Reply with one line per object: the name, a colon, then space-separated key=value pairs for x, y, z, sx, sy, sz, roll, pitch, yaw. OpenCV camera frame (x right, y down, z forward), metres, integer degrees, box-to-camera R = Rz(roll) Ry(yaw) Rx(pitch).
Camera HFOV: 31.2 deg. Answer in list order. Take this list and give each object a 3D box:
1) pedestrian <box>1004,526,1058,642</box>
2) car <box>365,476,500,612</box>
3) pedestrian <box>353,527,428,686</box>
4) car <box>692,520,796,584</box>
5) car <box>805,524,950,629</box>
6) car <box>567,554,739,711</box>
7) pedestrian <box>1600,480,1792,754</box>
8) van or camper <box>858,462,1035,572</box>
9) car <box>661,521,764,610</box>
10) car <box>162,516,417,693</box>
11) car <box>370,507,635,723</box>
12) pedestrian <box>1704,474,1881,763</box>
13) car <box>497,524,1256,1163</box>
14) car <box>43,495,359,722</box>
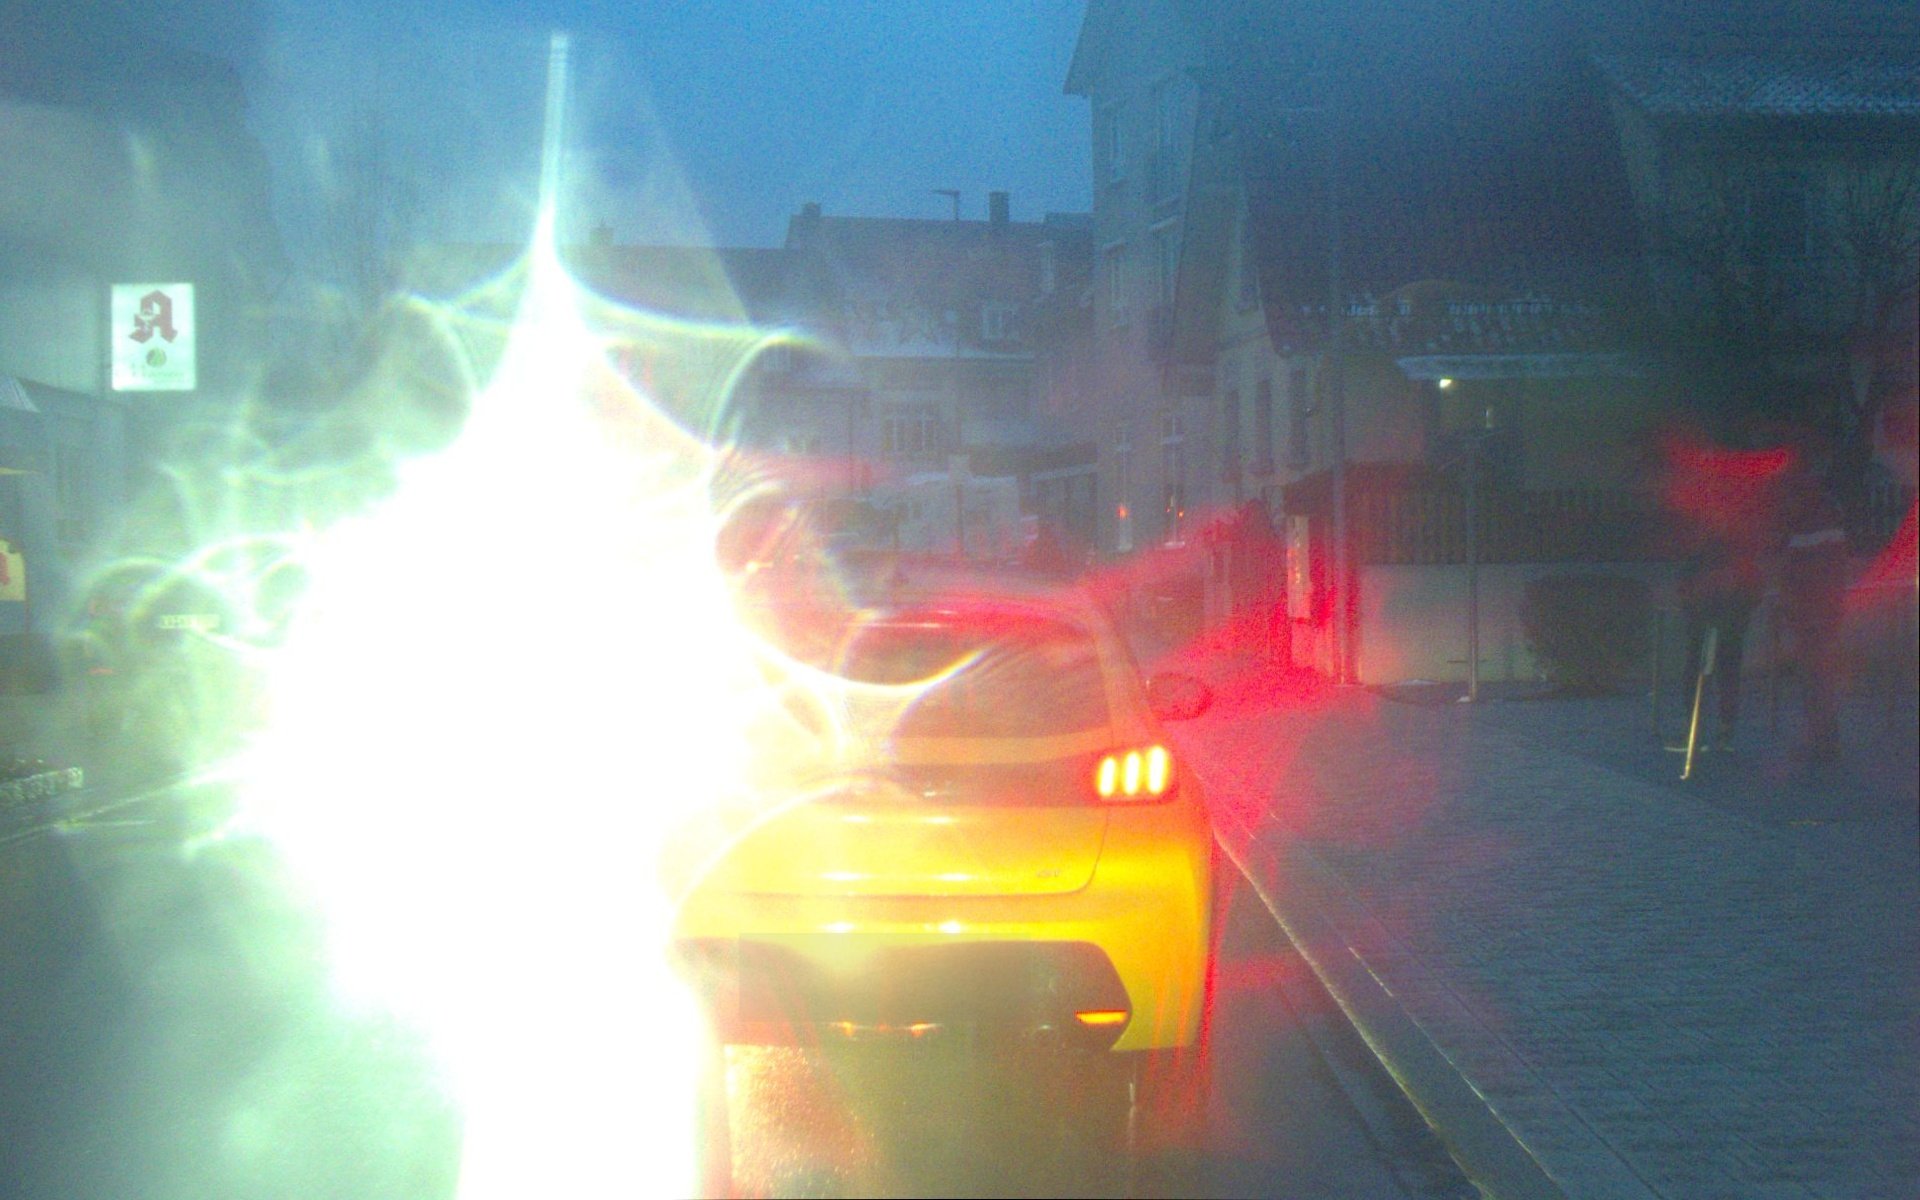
pedestrian: x=1.076 y=-0.251 z=52.301 sx=0.745 sy=1.723 sz=0.873 roll=0 pitch=2 yaw=-4
car: x=-10.557 y=-1.081 z=68.960 sx=2.485 sy=2.551 sz=6.763 roll=1 pitch=0 yaw=-8
pedestrian: x=-5.748 y=0.055 z=34.702 sx=0.528 sy=1.580 sz=0.576 roll=-2 pitch=2 yaw=-36
car: x=-6.412 y=-1.430 z=101.451 sx=1.993 sy=1.759 sz=4.352 roll=-2 pitch=2 yaw=-18
car: x=-1.349 y=-0.382 z=54.659 sx=1.993 sy=1.583 sz=4.001 roll=1 pitch=1 yaw=-6
car: x=-3.766 y=0.346 z=42.125 sx=1.951 sy=1.541 sz=4.417 roll=-2 pitch=4 yaw=-5
pedestrian: x=4.706 y=0.103 z=21.971 sx=0.844 sy=1.699 sz=0.837 roll=-1 pitch=1 yaw=43
van or camper: x=-0.477 y=-2.454 z=102.702 sx=2.650 sy=3.037 sz=6.736 roll=-4 pitch=2 yaw=-24
car: x=-5.449 y=-0.764 z=75.338 sx=1.993 sy=1.851 sz=4.001 roll=1 pitch=1 yaw=-7
car: x=-6.924 y=0.017 z=35.955 sx=1.880 sy=1.704 sz=4.713 roll=1 pitch=1 yaw=-2
car: x=-4.109 y=0.063 z=31.608 sx=1.993 sy=1.700 sz=4.968 roll=2 pitch=2 yaw=-3
pedestrian: x=5.060 y=0.104 z=20.926 sx=0.703 sy=1.699 sz=0.915 roll=-2 pitch=1 yaw=-9
car: x=-0.324 y=0.568 z=10.316 sx=1.814 sy=1.528 sz=4.001 roll=1 pitch=1 yaw=-4
car: x=-6.453 y=0.010 z=29.776 sx=2.085 sy=1.786 sz=5.025 roll=0 pitch=1 yaw=-6
